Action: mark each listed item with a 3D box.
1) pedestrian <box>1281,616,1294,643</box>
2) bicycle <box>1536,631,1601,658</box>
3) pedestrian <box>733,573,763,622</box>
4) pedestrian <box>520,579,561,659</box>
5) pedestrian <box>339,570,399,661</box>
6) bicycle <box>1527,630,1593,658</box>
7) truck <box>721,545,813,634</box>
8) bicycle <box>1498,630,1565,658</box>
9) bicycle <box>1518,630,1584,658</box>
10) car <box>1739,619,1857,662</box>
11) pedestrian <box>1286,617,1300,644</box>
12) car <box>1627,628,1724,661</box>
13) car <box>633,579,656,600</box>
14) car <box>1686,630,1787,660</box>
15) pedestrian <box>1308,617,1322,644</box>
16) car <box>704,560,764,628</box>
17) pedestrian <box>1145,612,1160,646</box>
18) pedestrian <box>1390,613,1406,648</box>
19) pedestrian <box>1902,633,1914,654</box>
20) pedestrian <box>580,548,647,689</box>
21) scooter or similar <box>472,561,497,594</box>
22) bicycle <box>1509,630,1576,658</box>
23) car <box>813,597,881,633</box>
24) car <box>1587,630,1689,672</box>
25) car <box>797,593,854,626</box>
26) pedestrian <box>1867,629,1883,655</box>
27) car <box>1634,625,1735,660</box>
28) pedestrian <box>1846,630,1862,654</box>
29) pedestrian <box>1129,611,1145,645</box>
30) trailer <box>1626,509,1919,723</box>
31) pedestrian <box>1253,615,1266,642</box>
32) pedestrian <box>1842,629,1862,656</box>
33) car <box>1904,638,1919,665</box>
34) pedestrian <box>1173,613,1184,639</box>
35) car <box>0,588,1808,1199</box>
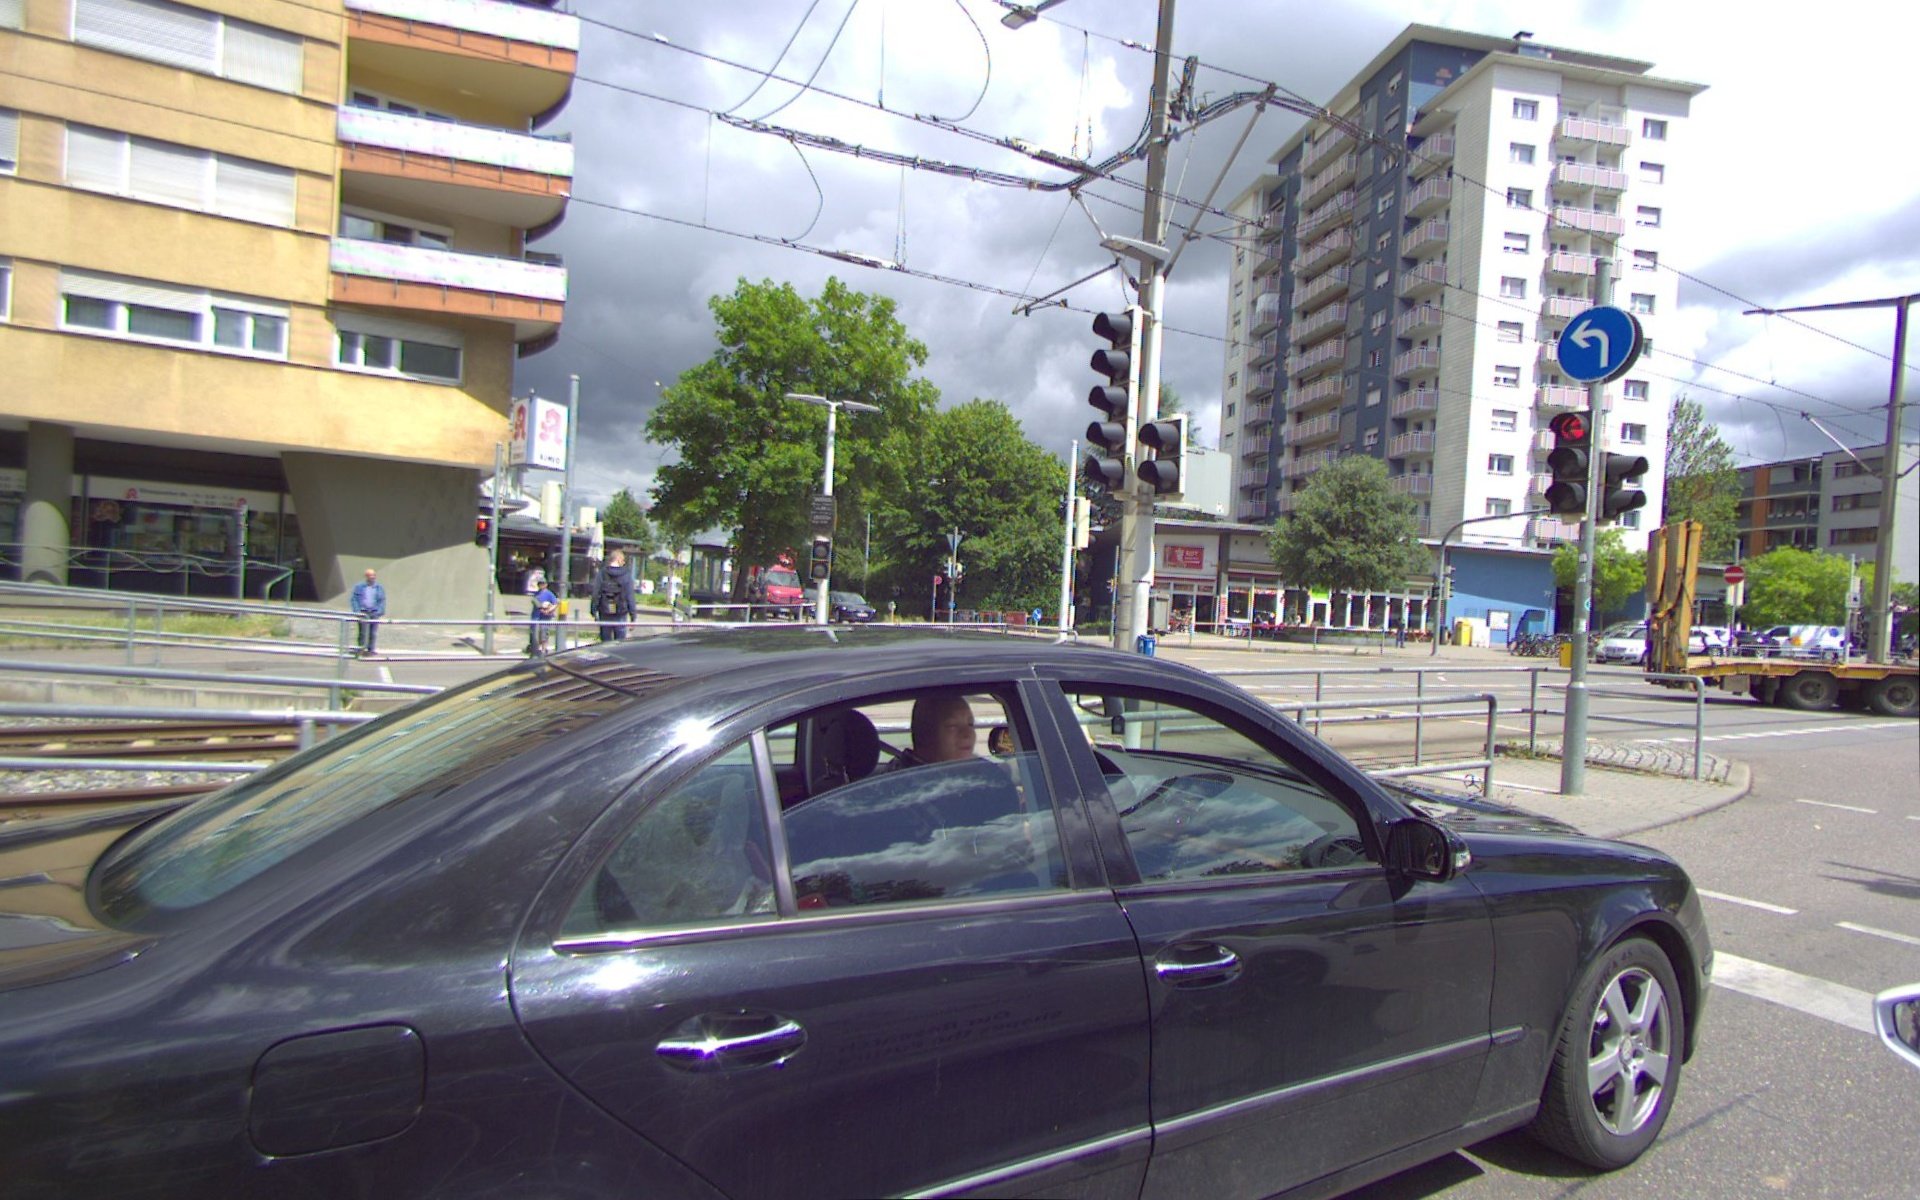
[{"bbox_3d":[19.068,1.715,58.430,0.516,1.492,0.572,2,0,-2],"label":"pedestrian"},{"bbox_3d":[26.728,1.936,44.166,0.697,1.080,2.415,2,0,-30],"label":"bicycle"},{"bbox_3d":[-8.094,-0.105,38.386,0.873,1.835,0.641,2,0,33],"label":"pedestrian"},{"bbox_3d":[-8.548,0.381,20.466,0.641,1.534,0.715,2,6,-30],"label":"pedestrian"},{"bbox_3d":[-11.124,0.291,18.902,0.902,1.619,0.714,2,5,-34],"label":"pedestrian"},{"bbox_3d":[26.116,1.915,43.752,0.697,1.080,2.415,2,0,-30],"label":"bicycle"},{"bbox_3d":[-9.052,-0.451,46.474,2.512,3.723,7.057,2,0,-24],"label":"truck"},{"bbox_3d":[24.105,1.848,42.408,0.697,1.080,2.415,2,0,-30],"label":"bicycle"},{"bbox_3d":[25.483,1.894,43.339,0.697,1.080,2.415,2,0,-30],"label":"bicycle"},{"bbox_3d":[47.006,2.258,56.443,4.666,2.185,1.907,2,0,17],"label":"car"},{"bbox_3d":[18.885,1.724,56.969,0.565,1.492,0.522,2,0,-29],"label":"pedestrian"},{"bbox_3d":[36.829,2.268,51.802,3.691,1.516,1.747,2,0,18],"label":"car"},{"bbox_3d":[-34.048,-1.101,108.170,1.971,2.124,4.712,2,0,-22],"label":"car"},{"bbox_3d":[42.643,2.455,55.243,3.920,1.402,1.907,2,0,17],"label":"car"},{"bbox_3d":[20.212,1.744,57.180,0.565,1.492,0.522,2,0,-29],"label":"pedestrian"},{"bbox_3d":[-11.975,-0.307,52.900,1.971,3.343,6.270,2,0,-22],"label":"car"},{"bbox_3d":[8.398,1.260,43.832,0.516,1.492,0.518,2,0,-5],"label":"pedestrian"},{"bbox_3d":[21.027,1.479,48.172,0.594,1.665,0.414,2,0,-34],"label":"pedestrian"},{"bbox_3d":[69.628,3.206,73.747,0.490,1.479,0.559,2,0,30],"label":"pedestrian"},{"bbox_3d":[-4.980,0.265,14.460,0.840,1.960,0.917,2,0,-19],"label":"pedestrian"},{"bbox_3d":[-16.728,-0.772,35.310,0.540,1.108,1.736,2,0,-34],"label":"scooter or similar"},{"bbox_3d":[24.785,1.870,42.809,0.697,1.080,2.415,2,0,-30],"label":"bicycle"},{"bbox_3d":[-5.233,0.671,46.180,1.972,1.514,3.976,2,0,-24],"label":"car"},{"bbox_3d":[26.863,2.006,39.792,3.708,1.553,1.811,2,0,-28],"label":"car"},{"bbox_3d":[-6.988,0.463,51.804,1.971,1.623,3.979,2,0,-22],"label":"car"},{"bbox_3d":[65.665,3.023,72.090,0.834,1.816,0.607,2,0,-33],"label":"pedestrian"},{"bbox_3d":[38.640,2.242,53.662,3.919,1.654,1.907,2,0,12],"label":"car"},{"bbox_3d":[59.833,2.818,67.218,0.654,1.594,0.687,2,0,30],"label":"pedestrian"},{"bbox_3d":[7.842,1.222,44.569,0.516,1.492,0.572,2,0,-5],"label":"pedestrian"},{"bbox_3d":[19.466,0.357,18.628,11.389,3.823,3.059,2,0,23],"label":"trailer"},{"bbox_3d":[17.339,1.644,58.125,0.515,1.492,0.572,2,0,1],"label":"pedestrian"},{"bbox_3d":[57.103,2.704,64.324,0.829,1.672,0.611,3,1,35],"label":"pedestrian"},{"bbox_3d":[64.047,3.443,66.091,4.058,1.685,1.980,2,2,-35],"label":"car"},{"bbox_3d":[12.696,1.498,58.333,0.515,1.492,0.572,2,0,1],"label":"pedestrian"},{"bbox_3d":[0.030,0.753,2.707,4.619,1.417,1.962,2,0,-30],"label":"car"}]
